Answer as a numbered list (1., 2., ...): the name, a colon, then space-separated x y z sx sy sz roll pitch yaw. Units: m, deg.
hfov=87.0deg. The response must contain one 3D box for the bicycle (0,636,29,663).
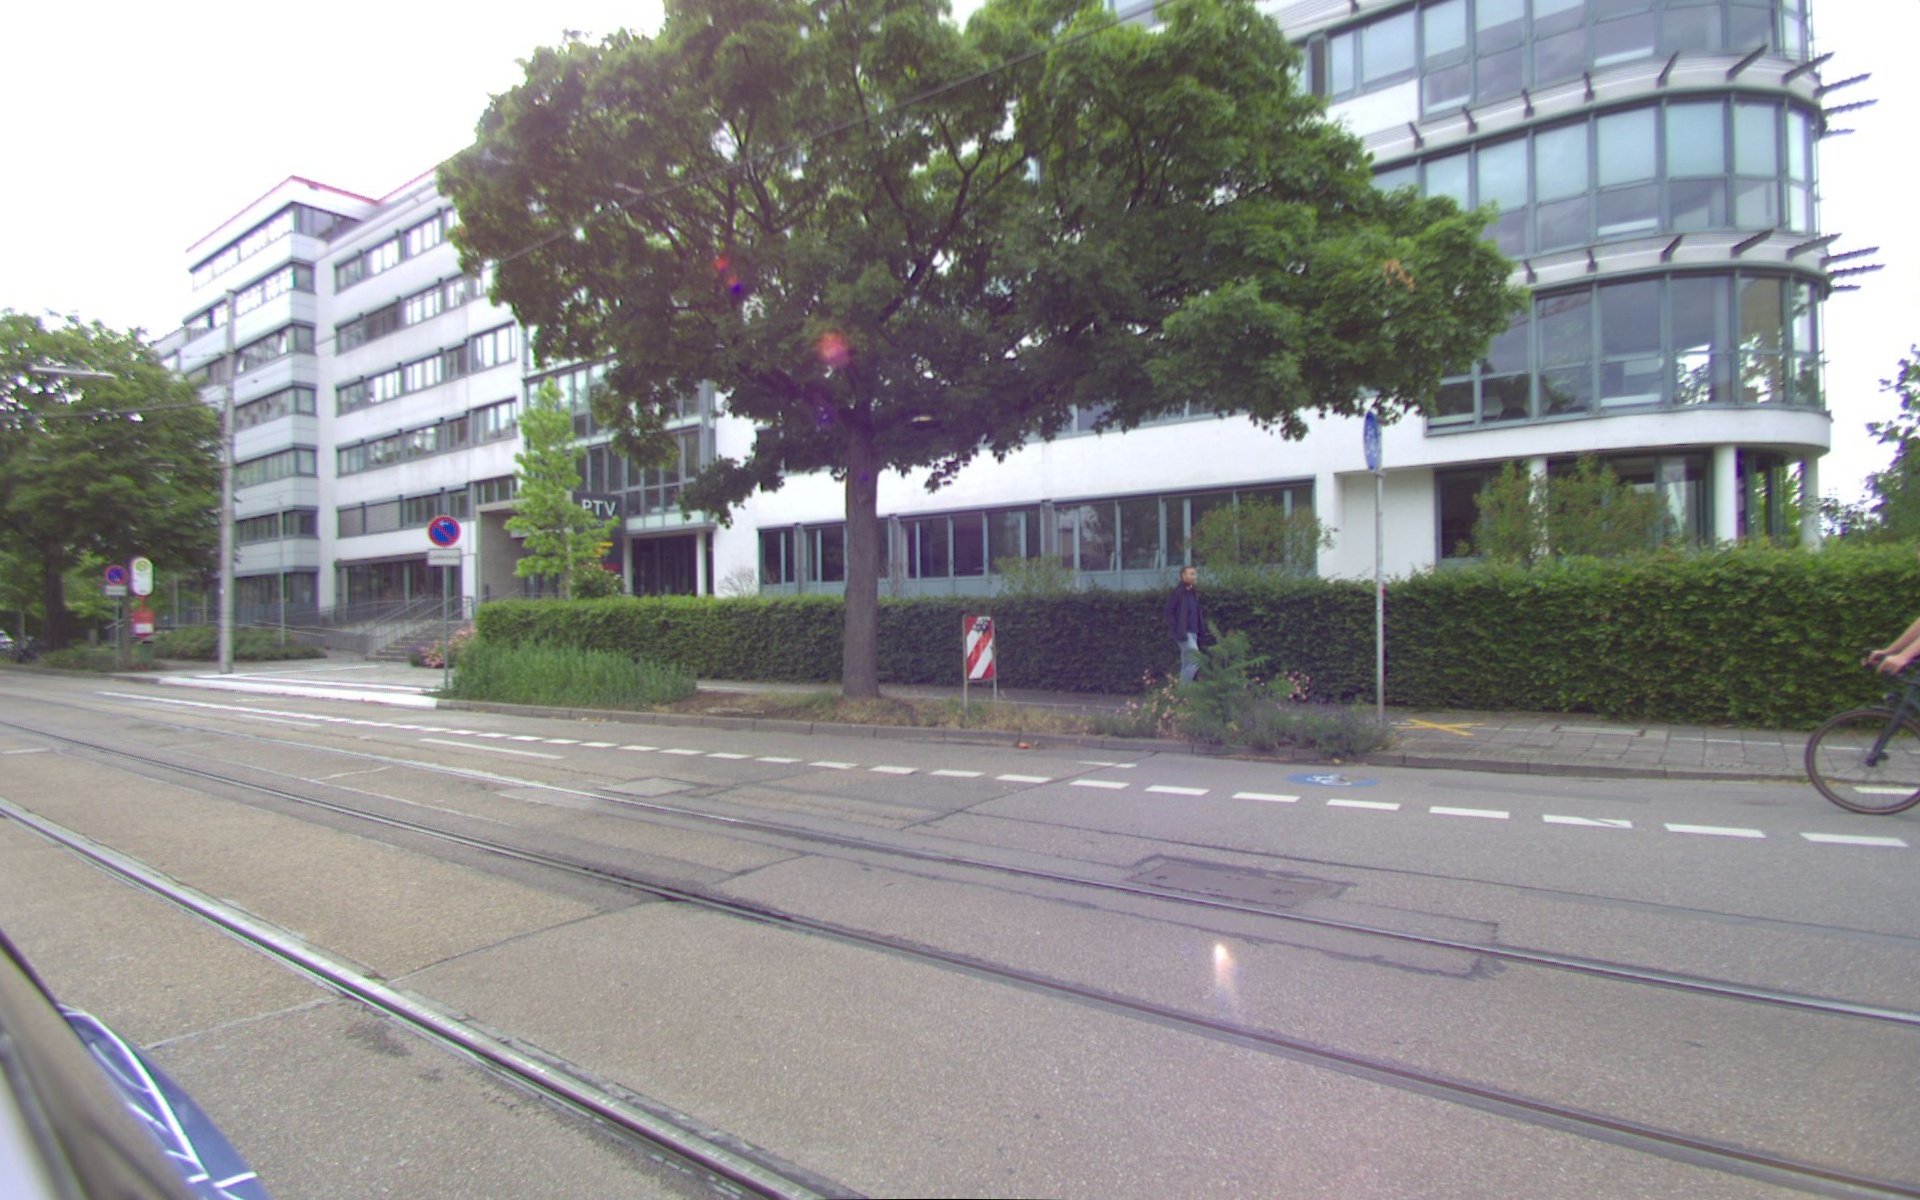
1. bicycle: -42.488 2.185 44.779 0.632 1.195 1.845 -2 -2 41

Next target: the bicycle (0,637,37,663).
1. bicycle: -41.522 2.184 44.134 0.630 1.108 1.792 -1 -2 31

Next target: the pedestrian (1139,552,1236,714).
1. pedestrian: 2.995 0.412 13.330 0.991 2.029 0.702 -1 1 44

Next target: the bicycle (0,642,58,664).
1. bicycle: -39.477 2.241 42.876 0.630 0.906 1.792 -1 -2 31

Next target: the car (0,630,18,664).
1. car: -44.967 2.188 46.383 4.746 1.504 1.864 -2 0 37

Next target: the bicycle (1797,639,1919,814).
1. bicycle: 6.583 0.790 6.346 1.947 1.082 0.583 -1 -2 28

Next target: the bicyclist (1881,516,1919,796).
1. bicyclist: 6.586 0.357 6.358 0.974 1.762 0.731 -1 -2 27

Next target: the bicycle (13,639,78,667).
1. bicycle: -36.514 2.112 40.426 0.738 1.061 1.816 -2 -1 29

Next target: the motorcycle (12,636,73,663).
1. motorcycle: -38.170 2.043 42.123 0.730 1.058 1.775 -1 0 30
